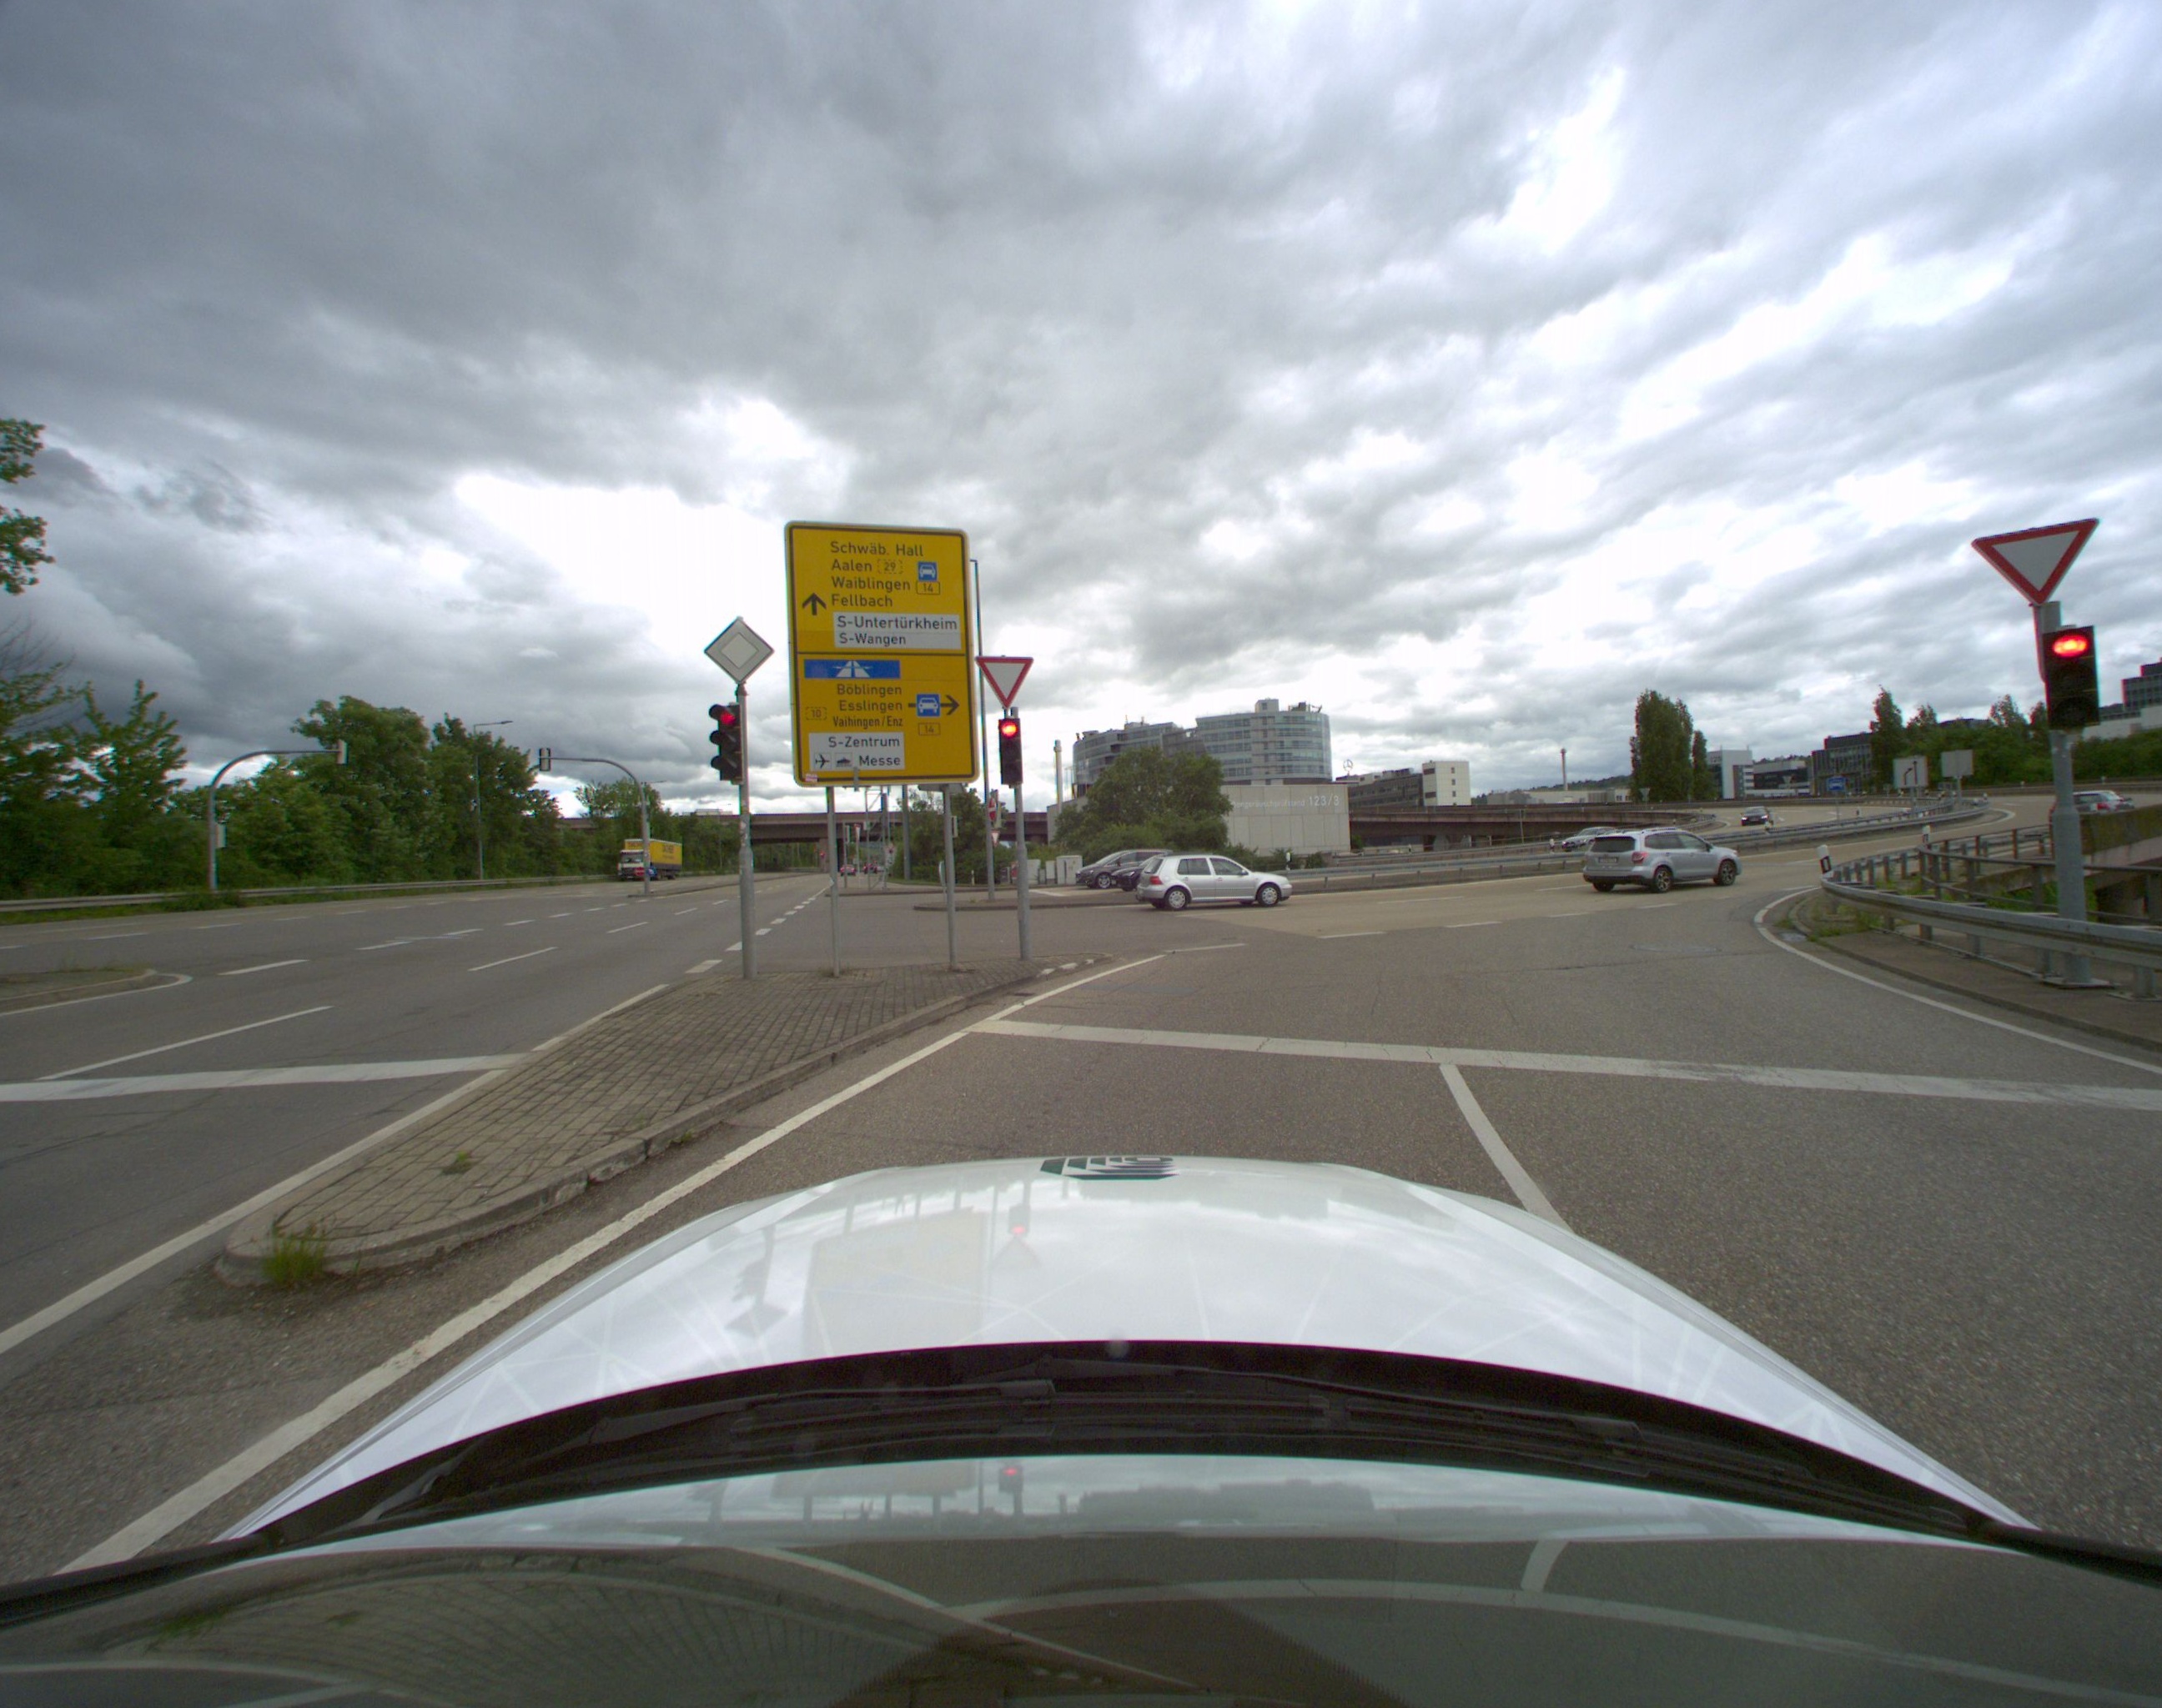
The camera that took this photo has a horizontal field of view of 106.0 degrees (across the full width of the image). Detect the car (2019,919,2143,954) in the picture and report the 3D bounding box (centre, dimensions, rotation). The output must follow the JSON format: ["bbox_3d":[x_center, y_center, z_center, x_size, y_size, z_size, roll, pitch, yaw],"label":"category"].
[{"bbox_3d":[52.245,4.264,42.605,1.832,1.354,3.827,-3,1,-29],"label":"car"}]

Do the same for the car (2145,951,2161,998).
[{"bbox_3d":[42.160,4.493,30.604,4.006,1.534,1.812,-3,1,-25],"label":"car"}]

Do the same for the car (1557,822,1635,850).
[{"bbox_3d":[33.961,-1.164,53.696,4.748,1.662,1.902,2,0,-21],"label":"car"}]

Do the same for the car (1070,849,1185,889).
[{"bbox_3d":[2.040,0.633,35.981,4.689,1.571,1.945,-1,1,-17],"label":"car"}]

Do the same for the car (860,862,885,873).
[{"bbox_3d":[-37.632,2.478,147.095,4.014,1.860,1.980,2,0,-33],"label":"car"}]

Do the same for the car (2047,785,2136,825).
[{"bbox_3d":[42.073,-2.048,33.903,4.258,1.461,1.713,-3,0,-31],"label":"car"}]

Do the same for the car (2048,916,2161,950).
[{"bbox_3d":[54.909,4.180,43.560,1.832,1.354,3.827,-3,1,-29],"label":"car"}]

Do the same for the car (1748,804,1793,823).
[{"bbox_3d":[56.511,-3.333,66.720,4.012,1.421,1.894,-3,3,-36],"label":"car"}]

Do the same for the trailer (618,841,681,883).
[{"bbox_3d":[-44.988,0.751,85.396,2.874,4.084,11.377,1,0,-13],"label":"trailer"}]

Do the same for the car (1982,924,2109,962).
[{"bbox_3d":[48.168,4.400,40.737,1.832,1.354,3.827,-3,1,-29],"label":"car"}]

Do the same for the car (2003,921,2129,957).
[{"bbox_3d":[50.324,4.311,41.689,1.832,1.354,3.827,-3,1,-29],"label":"car"}]

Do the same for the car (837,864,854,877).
[{"bbox_3d":[-29.139,2.062,100.784,1.997,1.442,4.088,0,-2,-15],"label":"car"}]

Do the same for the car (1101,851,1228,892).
[{"bbox_3d":[3.279,0.650,32.176,4.620,1.457,1.943,-1,1,-20],"label":"car"}]

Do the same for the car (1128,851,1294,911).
[{"bbox_3d":[3.434,0.687,21.849,4.053,1.400,1.724,-2,0,-10],"label":"car"}]

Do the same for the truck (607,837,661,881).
[{"bbox_3d":[-43.796,0.489,80.029,2.874,4.084,6.459,1,0,-13],"label":"truck"}]

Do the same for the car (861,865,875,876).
[{"bbox_3d":[-30.897,2.350,118.110,1.997,1.464,4.089,0,-2,-14],"label":"car"}]

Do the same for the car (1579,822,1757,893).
[{"bbox_3d":[16.145,0.065,22.391,4.557,1.737,1.718,-2,0,-21],"label":"car"}]
